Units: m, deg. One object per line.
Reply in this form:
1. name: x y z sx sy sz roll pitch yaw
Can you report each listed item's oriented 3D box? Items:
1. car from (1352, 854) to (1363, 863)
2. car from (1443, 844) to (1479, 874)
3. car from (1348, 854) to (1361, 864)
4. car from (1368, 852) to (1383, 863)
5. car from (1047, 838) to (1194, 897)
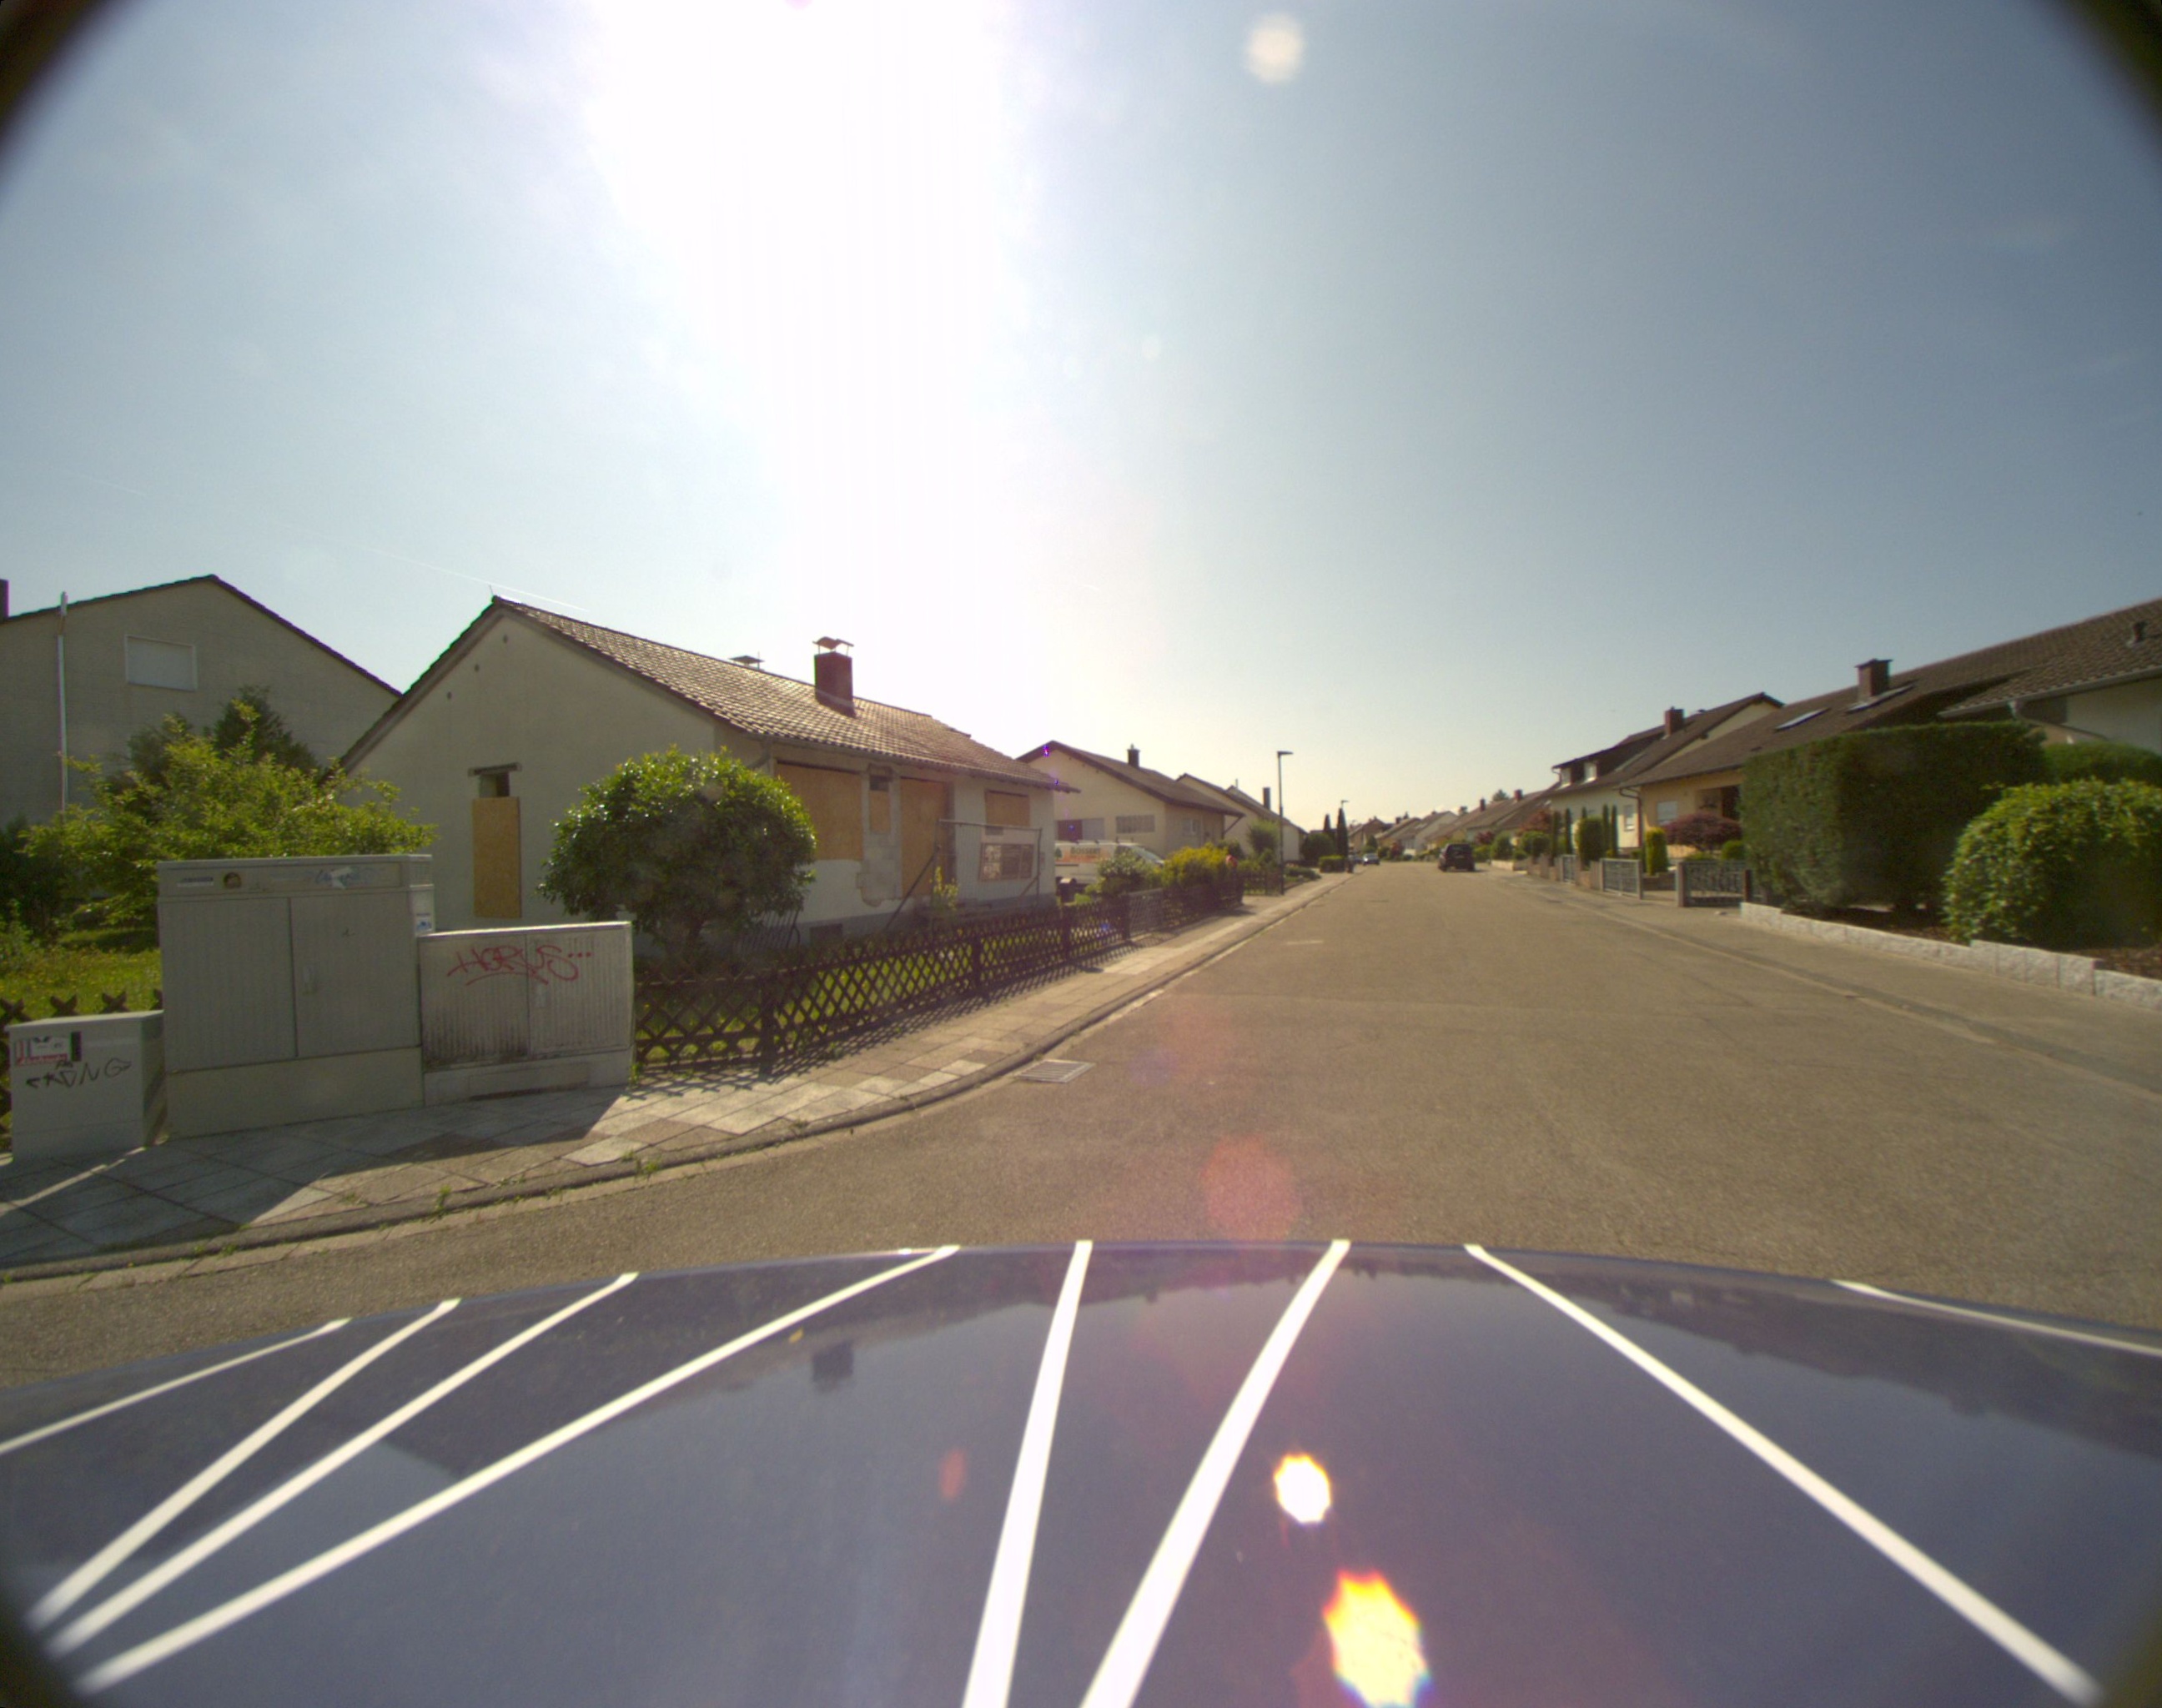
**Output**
1. car: 41.486 0.685 114.107 1.457 1.270 3.107 -1 0 18
2. car: 23.970 0.296 48.042 1.766 1.767 3.658 -2 0 23
3. car: 37.609 0.672 104.598 1.457 1.270 3.107 -1 0 16
4. car: 35.590 0.467 91.725 1.457 1.270 3.107 -1 0 17
5. car: 1.435 0.476 27.839 5.000 2.002 1.871 -1 1 25
